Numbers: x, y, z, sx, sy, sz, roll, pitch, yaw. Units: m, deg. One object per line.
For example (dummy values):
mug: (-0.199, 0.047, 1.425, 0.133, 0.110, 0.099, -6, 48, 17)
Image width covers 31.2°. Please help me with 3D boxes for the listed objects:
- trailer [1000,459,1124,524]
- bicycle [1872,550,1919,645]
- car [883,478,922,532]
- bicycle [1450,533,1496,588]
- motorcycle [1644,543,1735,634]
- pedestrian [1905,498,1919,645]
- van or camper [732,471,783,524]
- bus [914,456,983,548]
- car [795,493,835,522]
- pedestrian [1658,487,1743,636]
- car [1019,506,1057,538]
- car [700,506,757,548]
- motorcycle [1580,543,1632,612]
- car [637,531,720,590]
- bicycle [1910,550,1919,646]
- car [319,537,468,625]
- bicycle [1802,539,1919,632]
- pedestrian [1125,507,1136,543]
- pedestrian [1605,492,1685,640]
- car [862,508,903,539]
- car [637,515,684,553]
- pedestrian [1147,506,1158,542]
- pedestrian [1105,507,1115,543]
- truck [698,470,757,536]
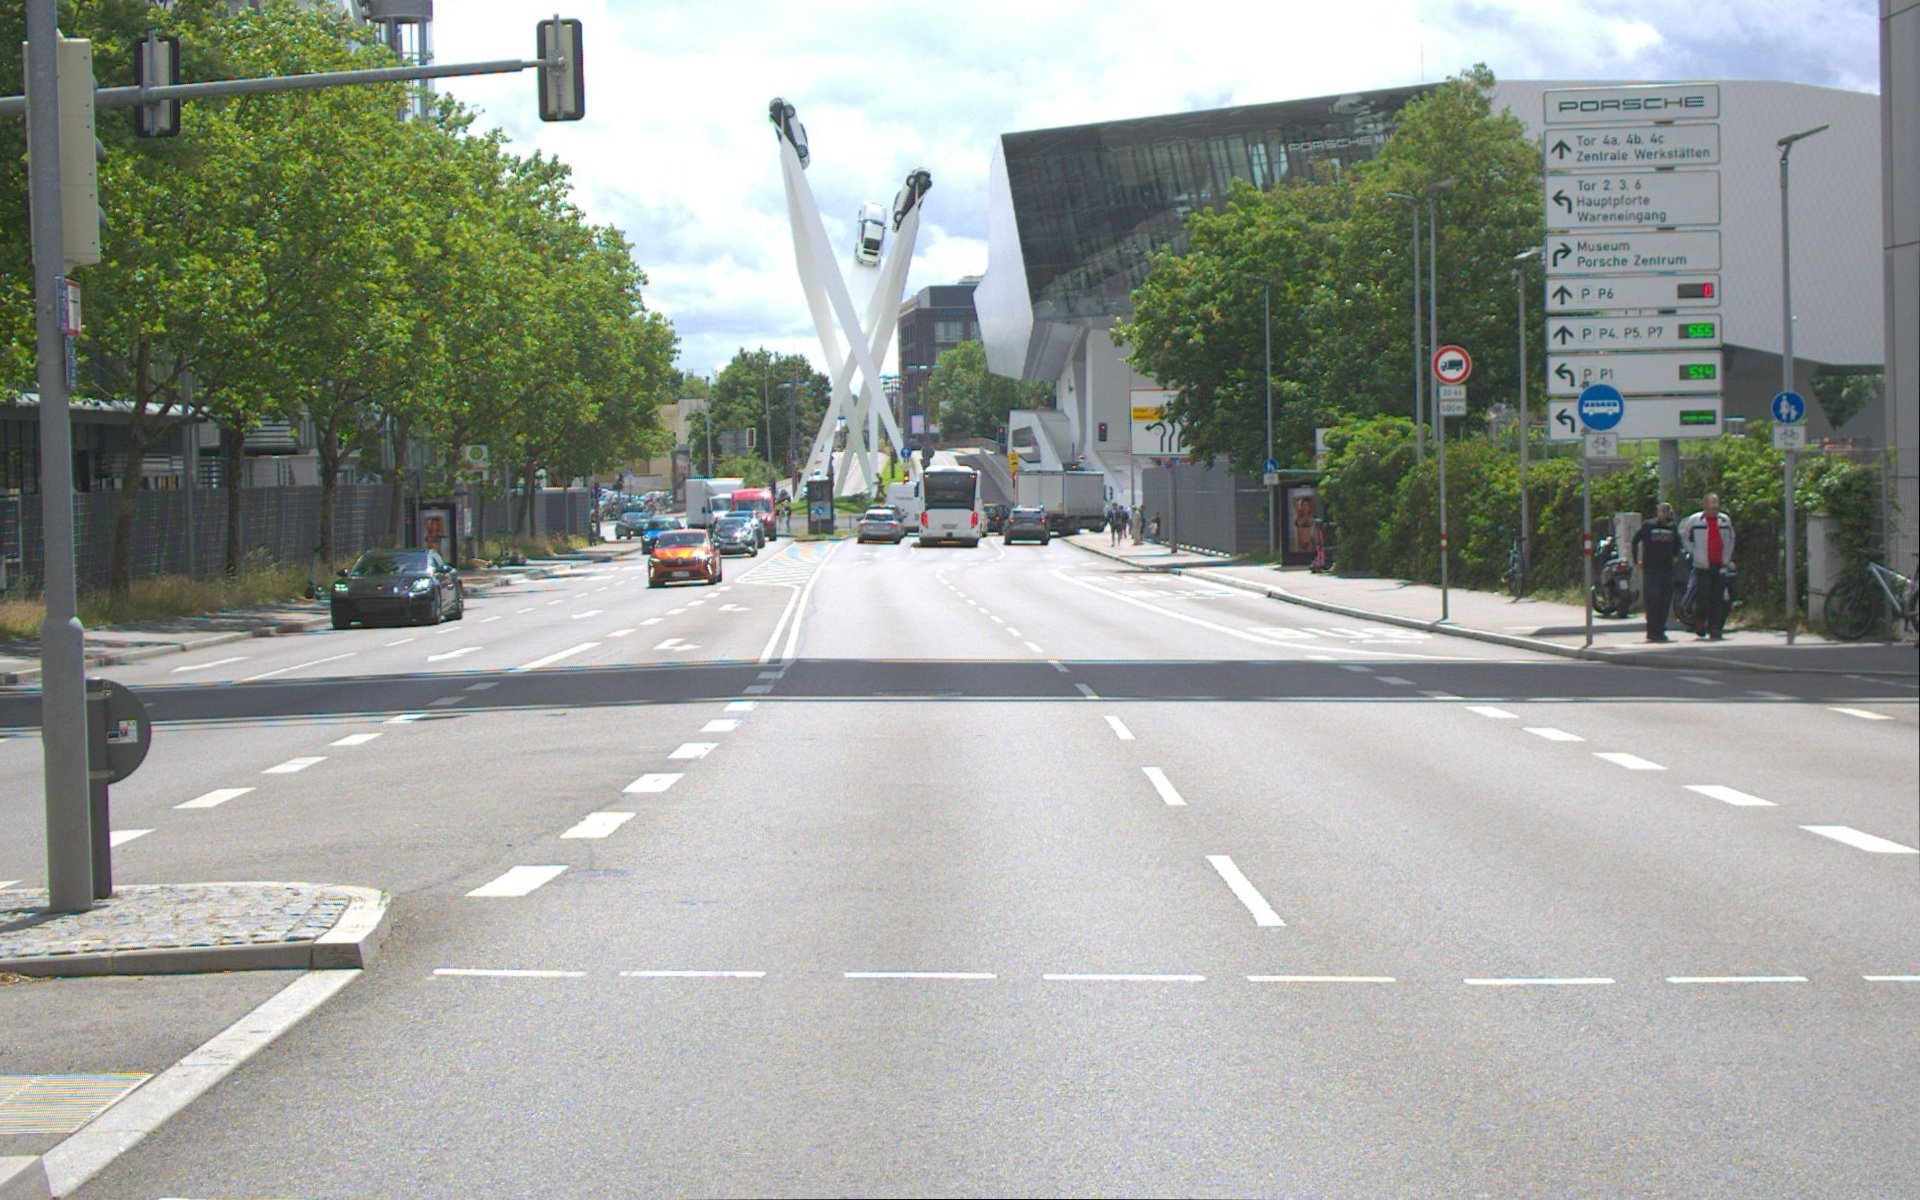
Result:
trailer: (5.184, -5.401, 172.094, 3.322, 2.984, 10.366, 1, 1, 19)
bicycle: (11.657, -0.017, 39.537, 2.222, 1.083, 0.476, 1, 1, 35)
car: (-2.871, -4.723, 171.203, 1.843, 2.614, 4.000, 1, 1, -2)
bicycle: (9.733, -0.744, 65.261, 0.418, 1.019, 1.913, 1, 1, -5)
motorcycle: (9.541, -0.164, 45.021, 0.418, 1.162, 1.957, 1, 1, -11)
pedestrian: (10.968, -0.319, 38.428, 0.657, 1.635, 0.534, 1, 0, 28)
van or camper: (-9.553, -4.813, 162.586, 2.047, 2.458, 5.595, 0, 1, 0)
bus: (-0.447, -4.080, 144.651, 2.787, 3.673, 6.943, 1, 1, 0)
car: (-6.539, -4.174, 155.416, 1.557, 1.269, 3.701, -3, 1, 0)
pedestrian: (9.159, -0.481, 42.534, 0.691, 1.787, 0.712, -3, 1, -16)
car: (3.309, -3.337, 146.263, 1.557, 1.269, 3.701, -3, 1, 1)
car: (-8.456, -2.679, 125.789, 1.769, 1.415, 3.701, -3, 1, 0)
motorcycle: (9.761, -0.344, 52.004, 0.457, 1.019, 1.912, 1, 1, 1)
car: (-7.250, -1.040, 88.695, 1.769, 1.415, 3.701, -3, 1, 0)
bicycle: (11.878, -0.006, 38.767, 2.191, 1.083, 0.476, 1, 1, 35)
car: (-10.545, -0.381, 64.305, 1.917, 1.483, 4.772, -3, 1, 0)
bicycle: (11.165, -0.174, 40.867, 2.222, 1.083, 0.476, 1, 1, 35)
pedestrian: (6.784, -2.993, 136.986, 0.386, 1.416, 0.423, 1, 0, 0)
pedestrian: (8.457, -0.420, 42.475, 0.641, 1.787, 0.712, -3, 1, -16)
car: (-3.353, -3.327, 148.759, 1.557, 1.269, 3.701, -3, 1, 1)
car: (-12.566, -2.763, 144.447, 1.797, 1.568, 4.001, 0, 1, -2)
pedestrian: (7.748, -3.060, 138.470, 0.386, 1.416, 0.423, 1, 0, 0)
pedestrian: (6.018, -3.010, 138.045, 0.386, 1.416, 0.423, 1, 0, 0)
truck: (-12.247, -5.090, 181.401, 2.591, 3.312, 7.079, 1, 1, 0)
